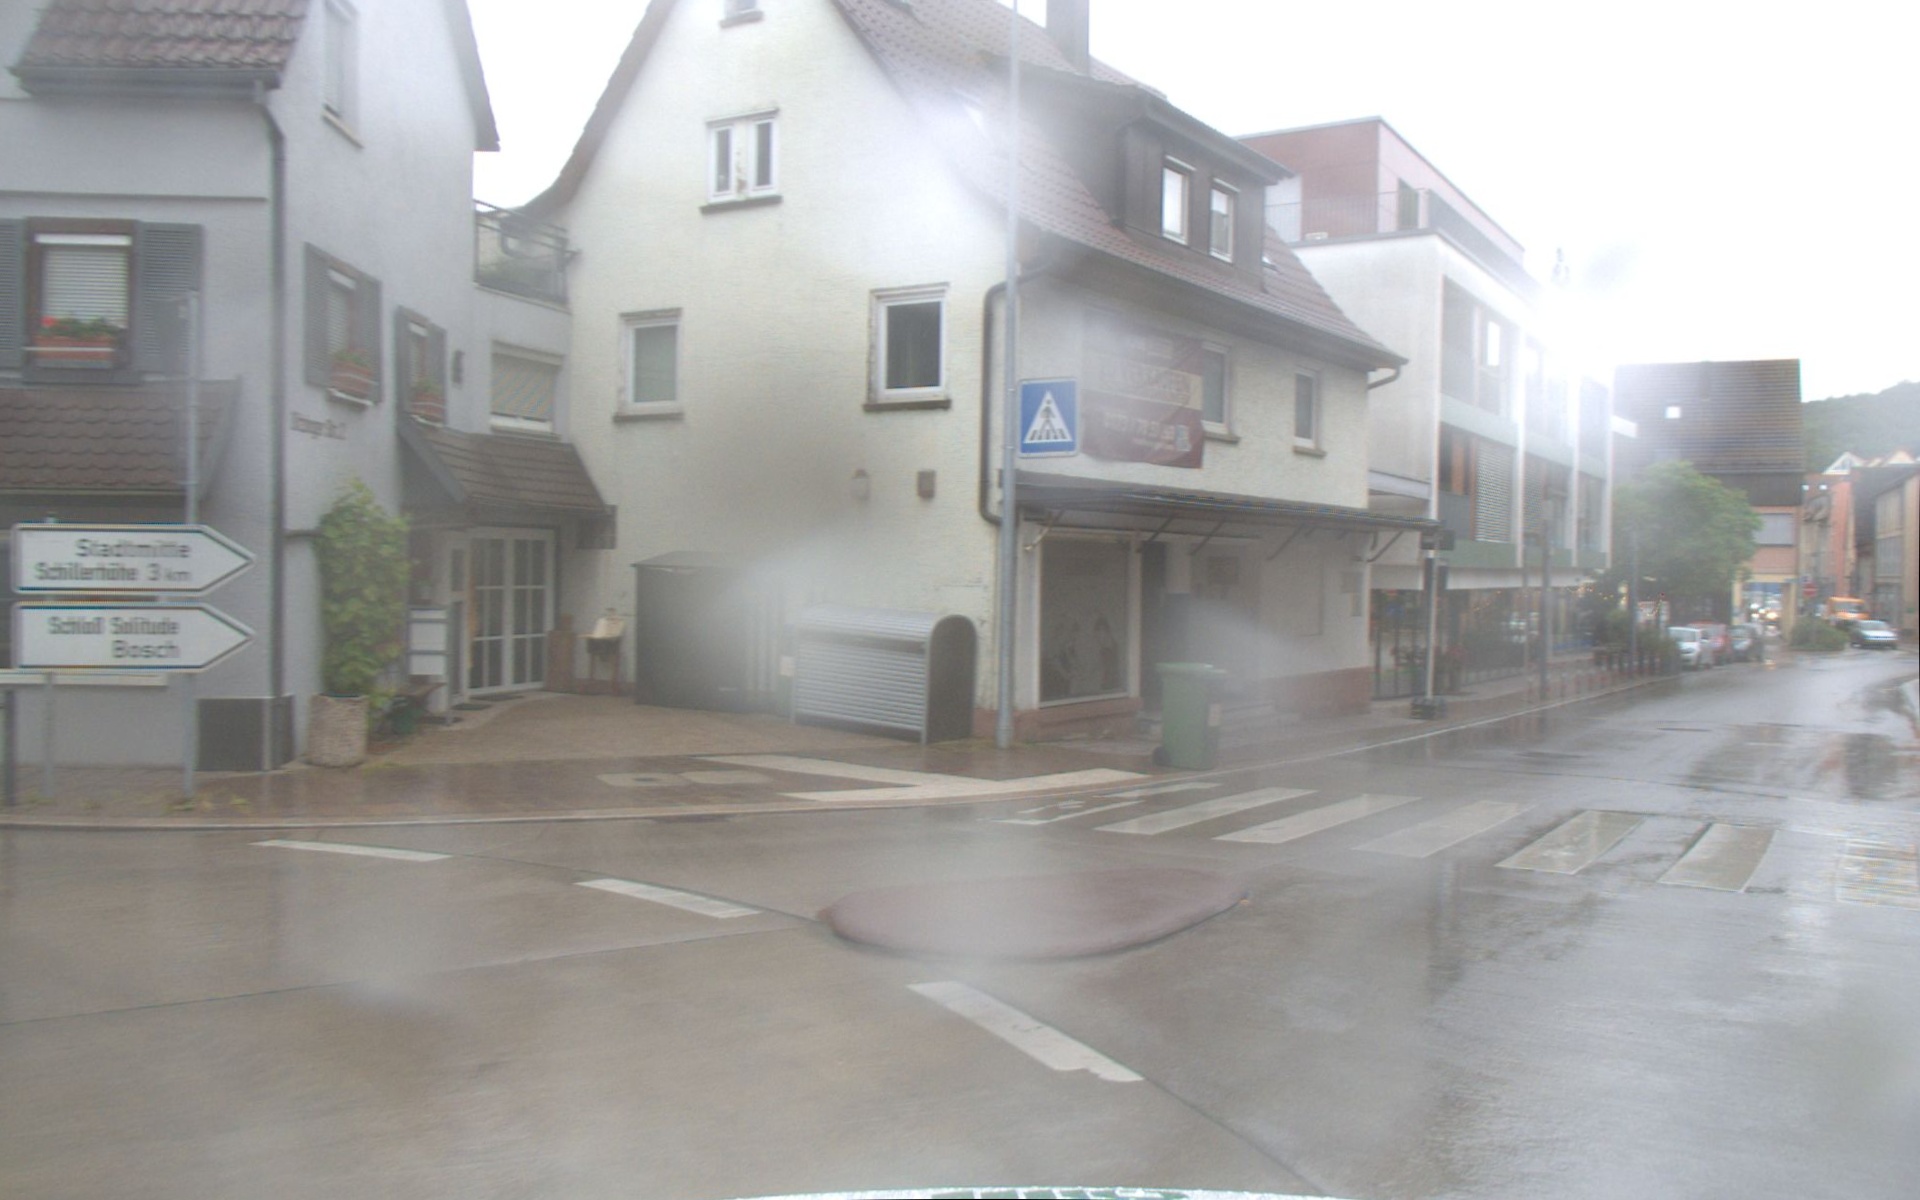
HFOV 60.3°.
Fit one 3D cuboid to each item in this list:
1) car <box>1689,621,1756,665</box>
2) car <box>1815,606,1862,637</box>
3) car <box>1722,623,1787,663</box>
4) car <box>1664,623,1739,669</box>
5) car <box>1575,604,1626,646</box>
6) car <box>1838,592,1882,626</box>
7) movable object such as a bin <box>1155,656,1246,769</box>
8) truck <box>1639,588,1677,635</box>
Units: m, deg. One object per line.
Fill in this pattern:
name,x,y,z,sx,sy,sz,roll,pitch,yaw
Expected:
car,29.567,1.634,64.063,1.755,1.604,4.094,1,0,34
car,45.449,1.084,85.620,1.680,1.483,3.910,2,1,22
car,32.680,1.739,67.991,1.686,1.483,3.894,3,1,36
car,26.599,1.619,59.267,1.755,1.525,4.440,1,0,34
car,32.767,1.236,84.571,1.779,1.645,3.994,1,7,31
car,59.357,0.591,109.149,2.061,2.184,4.865,-1,-1,23
movable object such as a bin,2.535,1.164,17.390,0.674,1.100,0.760,4,0,28
truck,35.555,0.575,84.178,1.566,2.098,3.191,-1,4,27
